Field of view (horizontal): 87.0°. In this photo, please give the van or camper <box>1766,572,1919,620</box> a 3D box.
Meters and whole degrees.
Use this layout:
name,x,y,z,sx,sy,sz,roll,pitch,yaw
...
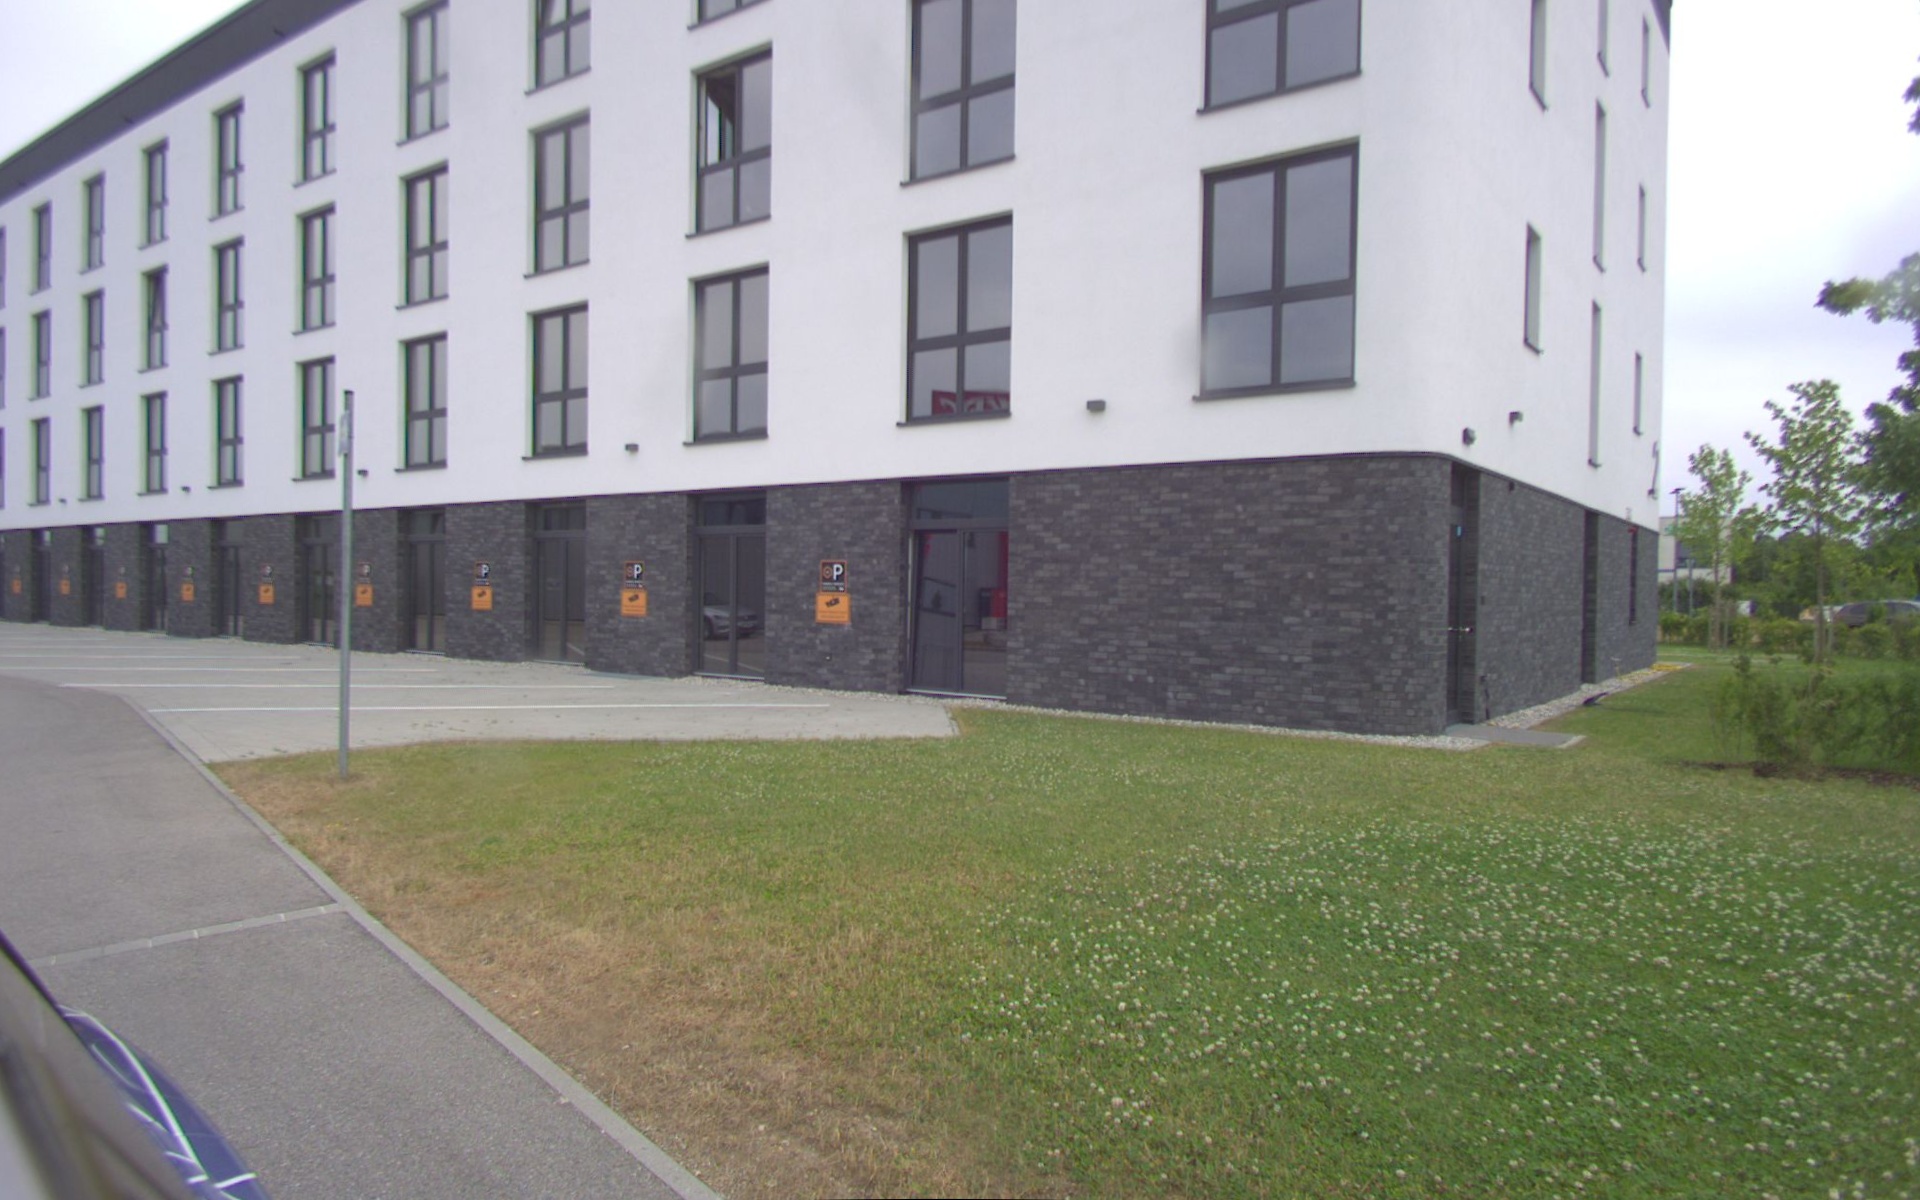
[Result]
name,x,y,z,sx,sy,sz,roll,pitch,yaw
van or camper,35.199,-0.196,40.395,4.573,1.762,1.972,2,2,43
